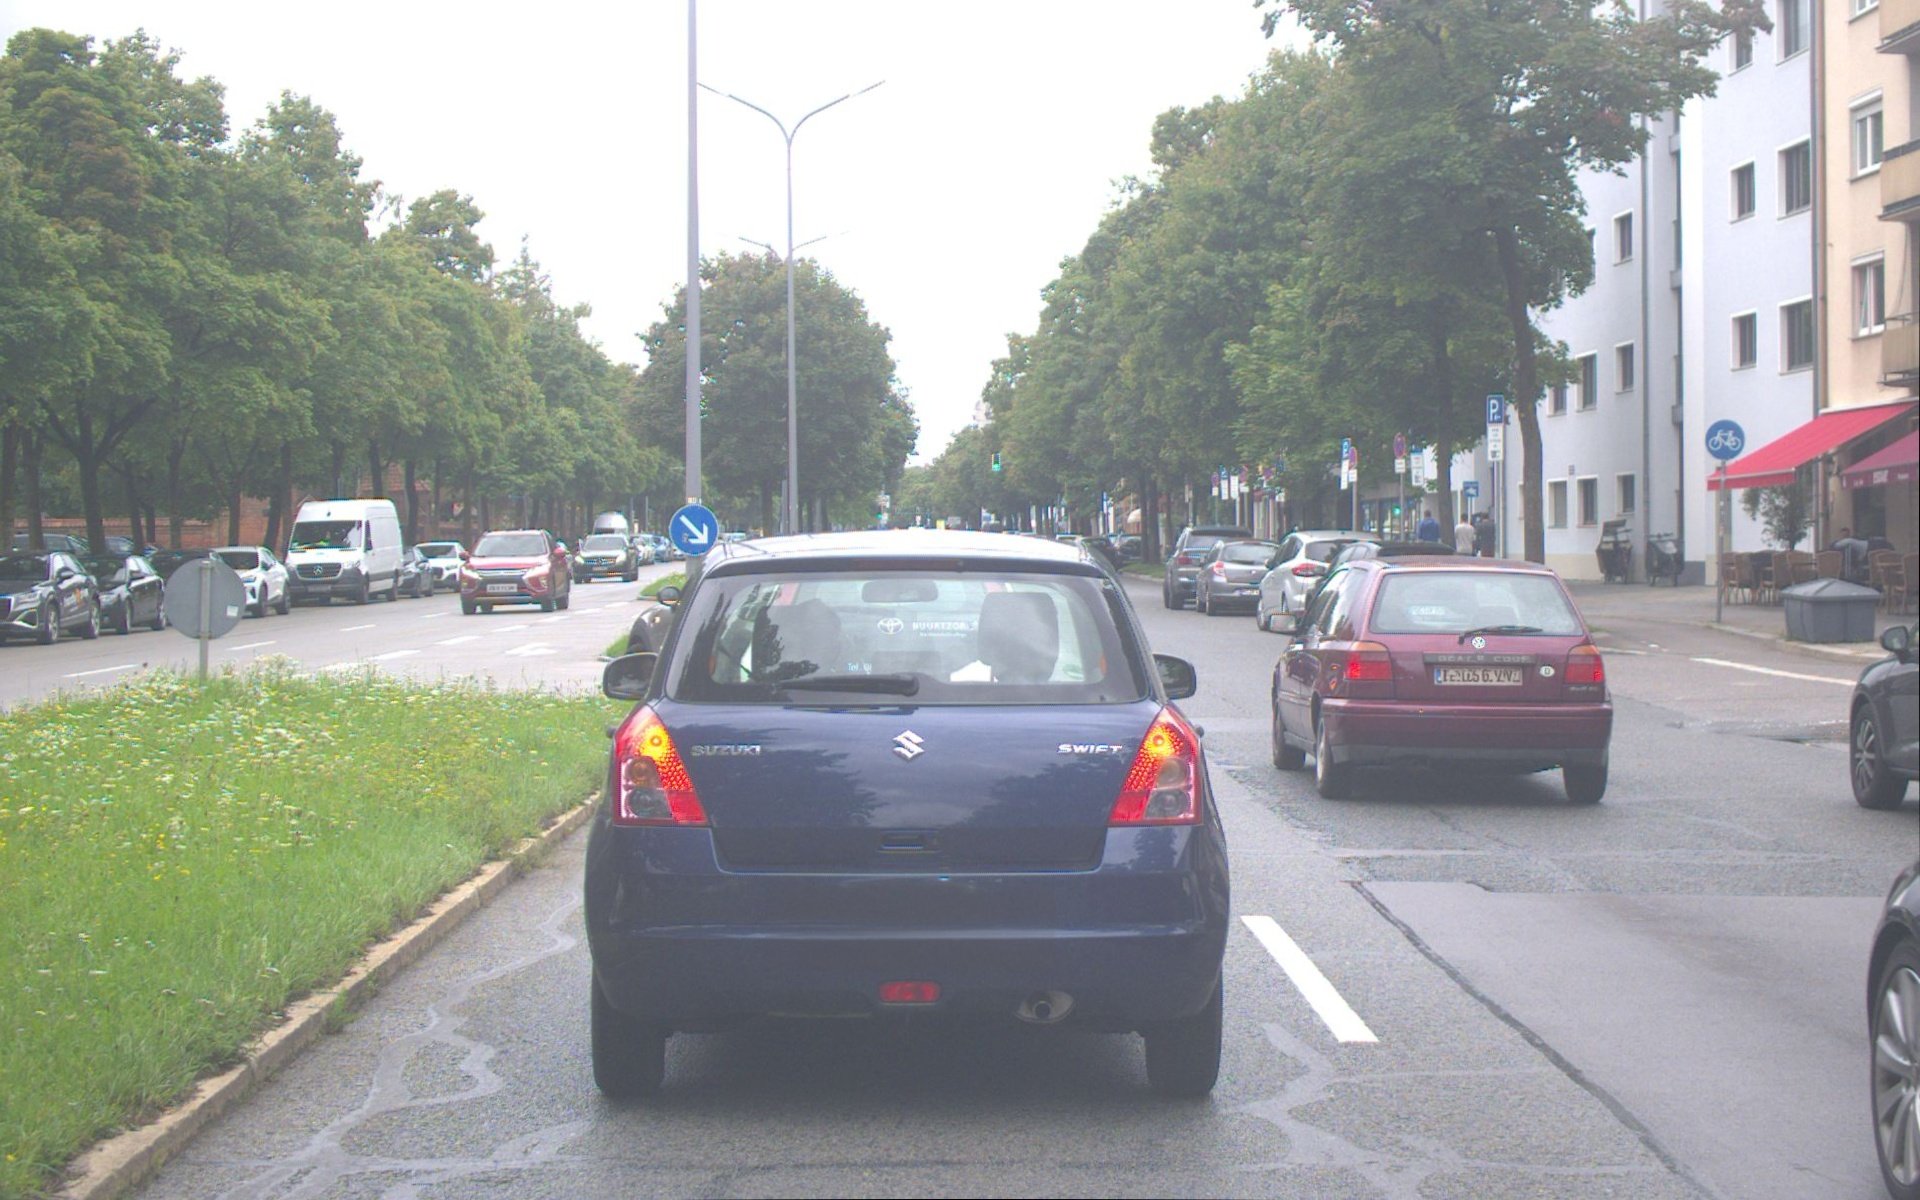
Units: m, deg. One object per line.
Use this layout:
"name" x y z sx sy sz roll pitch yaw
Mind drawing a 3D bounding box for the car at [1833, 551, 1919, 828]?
"car" 5.907 0.501 18.088 1.617 1.460 3.674 2 1 -1

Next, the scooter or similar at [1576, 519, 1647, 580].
"scooter or similar" 14.191 -1.107 74.978 1.033 1.303 2.755 0 1 0

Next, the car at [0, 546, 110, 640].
"car" -14.957 -0.143 55.298 1.667 1.440 3.879 1 1 -1

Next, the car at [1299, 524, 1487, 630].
"car" 6.065 -0.360 48.592 1.865 1.412 4.225 -1 1 -4

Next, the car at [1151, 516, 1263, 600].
"car" 5.084 -0.893 71.354 1.865 1.677 4.225 -1 1 -2

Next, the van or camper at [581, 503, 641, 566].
"van or camper" -18.585 -3.484 183.268 2.561 3.284 6.938 1 1 -1

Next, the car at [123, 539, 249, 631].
"car" -15.057 -0.314 67.024 1.632 1.735 3.879 1 1 -1

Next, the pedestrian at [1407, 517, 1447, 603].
"pedestrian" 10.965 -0.940 80.749 0.794 2.007 1.006 0 1 0

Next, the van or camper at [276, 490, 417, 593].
"van or camper" -15.368 -1.468 86.528 2.117 2.473 7.449 1 1 0

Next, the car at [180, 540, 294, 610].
"car" -15.191 -0.543 72.357 1.632 1.426 3.879 1 1 -1

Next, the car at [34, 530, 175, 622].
"car" -15.051 -0.438 60.644 1.590 1.553 3.879 1 1 -1

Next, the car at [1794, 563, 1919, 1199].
"car" 2.892 0.698 5.865 1.731 1.427 4.443 1 1 -1

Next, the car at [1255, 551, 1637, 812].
"car" 2.832 0.421 20.796 1.682 1.379 3.919 1 1 -1

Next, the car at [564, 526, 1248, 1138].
"car" -0.181 0.531 10.424 1.682 1.496 3.919 0 1 -1

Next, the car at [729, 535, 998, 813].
"car" -0.557 0.369 20.053 1.444 1.478 3.107 0 1 -1

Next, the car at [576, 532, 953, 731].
"car" -1.640 0.192 27.583 1.682 1.458 3.735 -1 1 -27

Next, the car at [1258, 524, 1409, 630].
"car" 5.748 -0.390 53.368 1.791 1.553 4.225 -1 1 -1

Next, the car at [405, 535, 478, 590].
"car" -15.375 -1.115 102.063 1.632 1.577 3.879 1 1 -1

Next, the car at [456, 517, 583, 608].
"car" -8.771 -0.780 68.806 1.904 1.690 4.245 -2 1 0

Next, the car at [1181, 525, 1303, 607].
"car" 5.424 -0.688 66.631 1.865 1.512 4.225 -1 1 -2

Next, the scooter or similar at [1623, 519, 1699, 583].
"scooter or similar" 14.490 -1.026 71.119 1.033 1.303 2.755 0 1 0

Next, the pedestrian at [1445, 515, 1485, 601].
"pedestrian" 11.845 -0.998 80.682 0.794 2.007 1.006 0 1 0

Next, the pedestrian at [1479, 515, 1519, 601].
"pedestrian" 12.657 -0.990 80.752 0.794 2.007 1.006 0 1 0

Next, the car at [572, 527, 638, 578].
"car" -11.991 -1.626 116.233 1.766 1.618 4.507 -2 1 -1

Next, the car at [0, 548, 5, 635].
"car" -15.177 -0.116 50.190 1.590 1.307 3.381 1 1 -1
